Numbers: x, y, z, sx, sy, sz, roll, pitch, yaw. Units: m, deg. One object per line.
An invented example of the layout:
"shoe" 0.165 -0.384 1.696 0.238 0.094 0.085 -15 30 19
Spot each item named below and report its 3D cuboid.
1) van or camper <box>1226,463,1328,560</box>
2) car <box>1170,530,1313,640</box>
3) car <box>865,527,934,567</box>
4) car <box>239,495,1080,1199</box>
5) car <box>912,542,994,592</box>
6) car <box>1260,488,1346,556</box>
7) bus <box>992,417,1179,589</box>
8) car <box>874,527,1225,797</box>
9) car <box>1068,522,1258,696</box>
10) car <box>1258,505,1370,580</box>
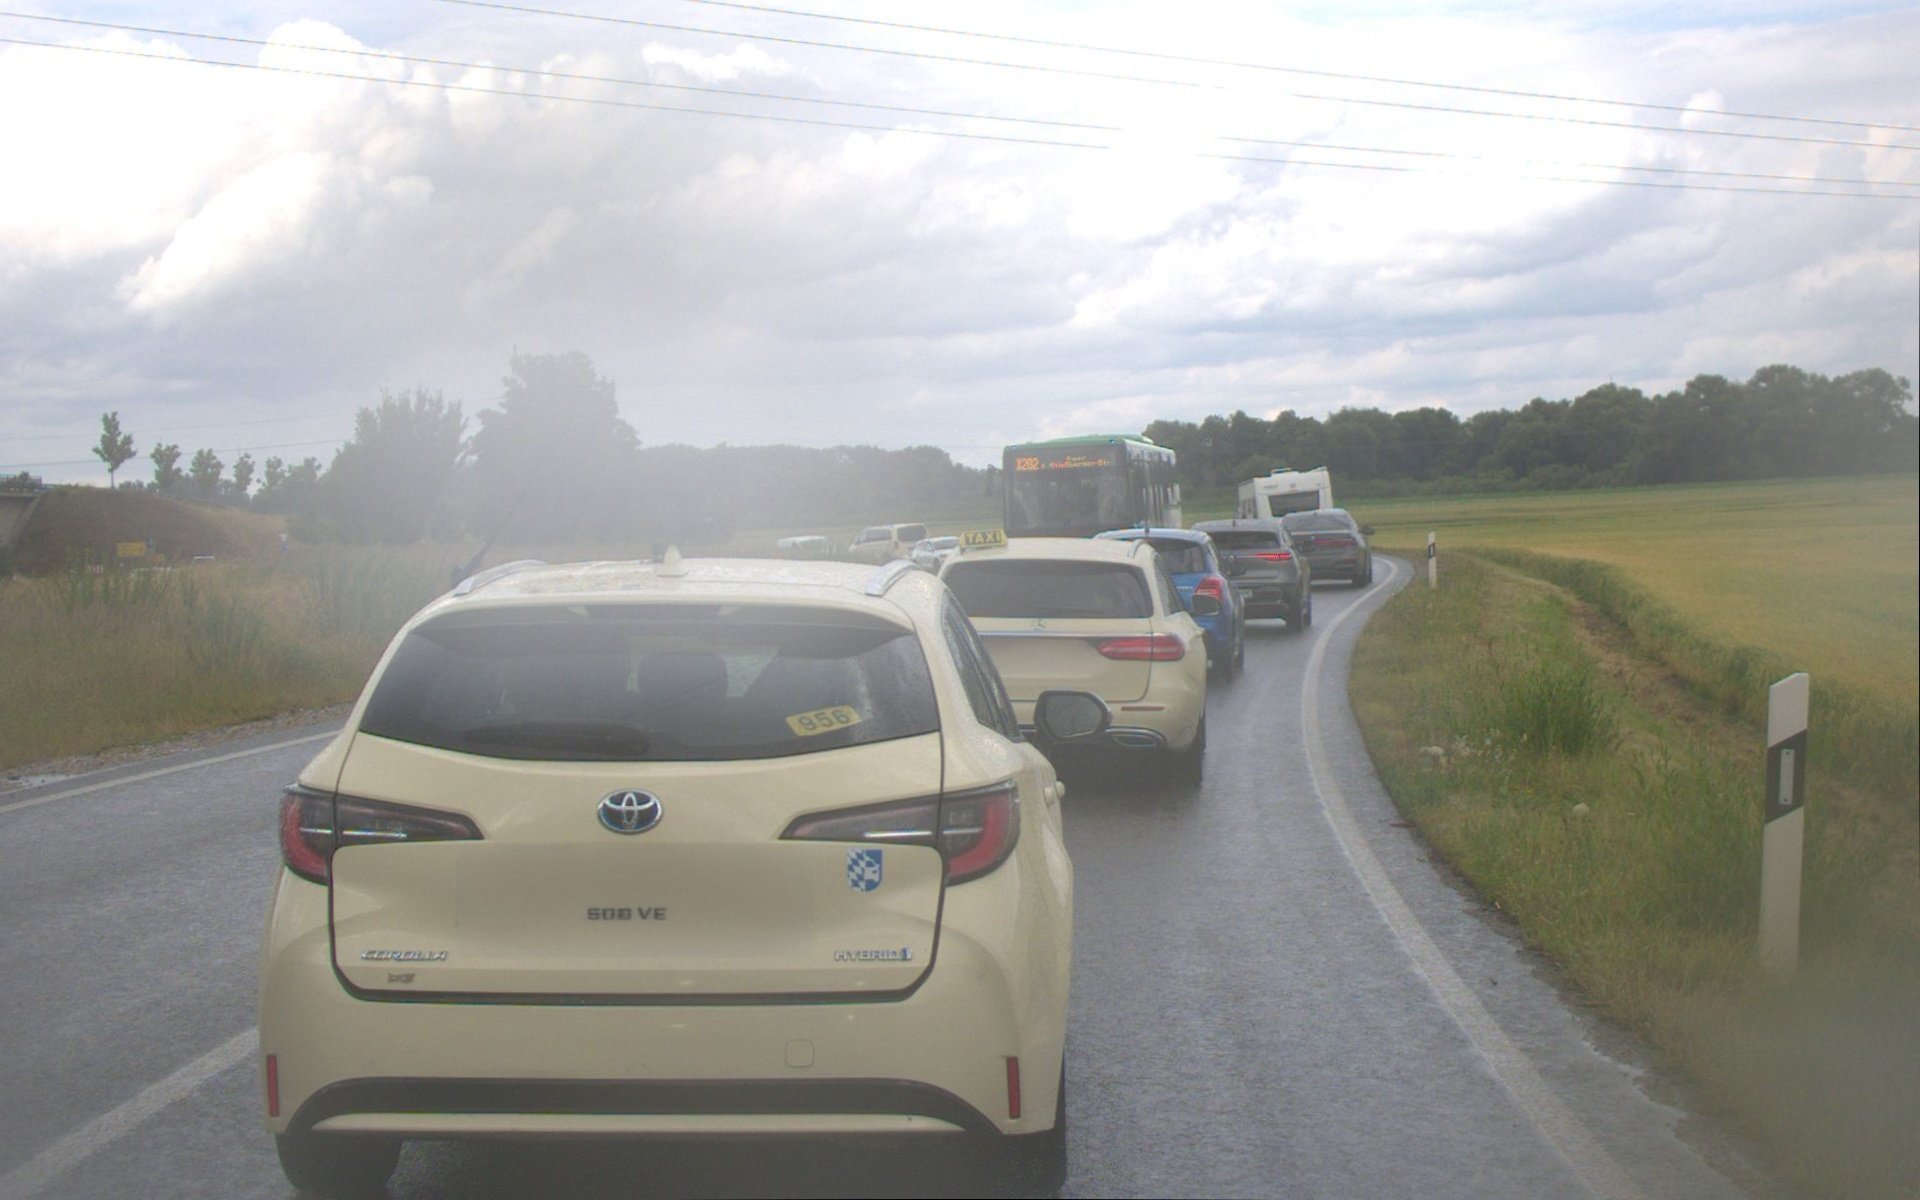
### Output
"van or camper" 9.741 -2.722 106.101 2.536 2.886 6.743 0 1 0
"car" 3.831 -0.204 46.323 1.613 1.408 3.737 0 0 9
"car" -2.770 -2.428 157.154 1.882 1.767 4.161 0 0 -20
"car" -0.523 0.574 8.546 1.613 1.557 3.738 0 0 2
"car" -0.306 -1.347 141.249 1.993 2.007 4.380 0 0 -20
"car" 9.073 -2.043 91.152 1.960 1.723 3.738 0 0 1
"bus" 2.804 -1.991 72.147 2.759 3.286 12.499 0 1 7
"car" 0.671 0.295 21.476 1.841 1.487 4.607 0 1 6
"car" 2.096 0.080 34.699 1.613 1.653 3.737 0 0 8
"car" 6.935 -1.097 66.961 1.960 1.408 4.391 0 0 9
